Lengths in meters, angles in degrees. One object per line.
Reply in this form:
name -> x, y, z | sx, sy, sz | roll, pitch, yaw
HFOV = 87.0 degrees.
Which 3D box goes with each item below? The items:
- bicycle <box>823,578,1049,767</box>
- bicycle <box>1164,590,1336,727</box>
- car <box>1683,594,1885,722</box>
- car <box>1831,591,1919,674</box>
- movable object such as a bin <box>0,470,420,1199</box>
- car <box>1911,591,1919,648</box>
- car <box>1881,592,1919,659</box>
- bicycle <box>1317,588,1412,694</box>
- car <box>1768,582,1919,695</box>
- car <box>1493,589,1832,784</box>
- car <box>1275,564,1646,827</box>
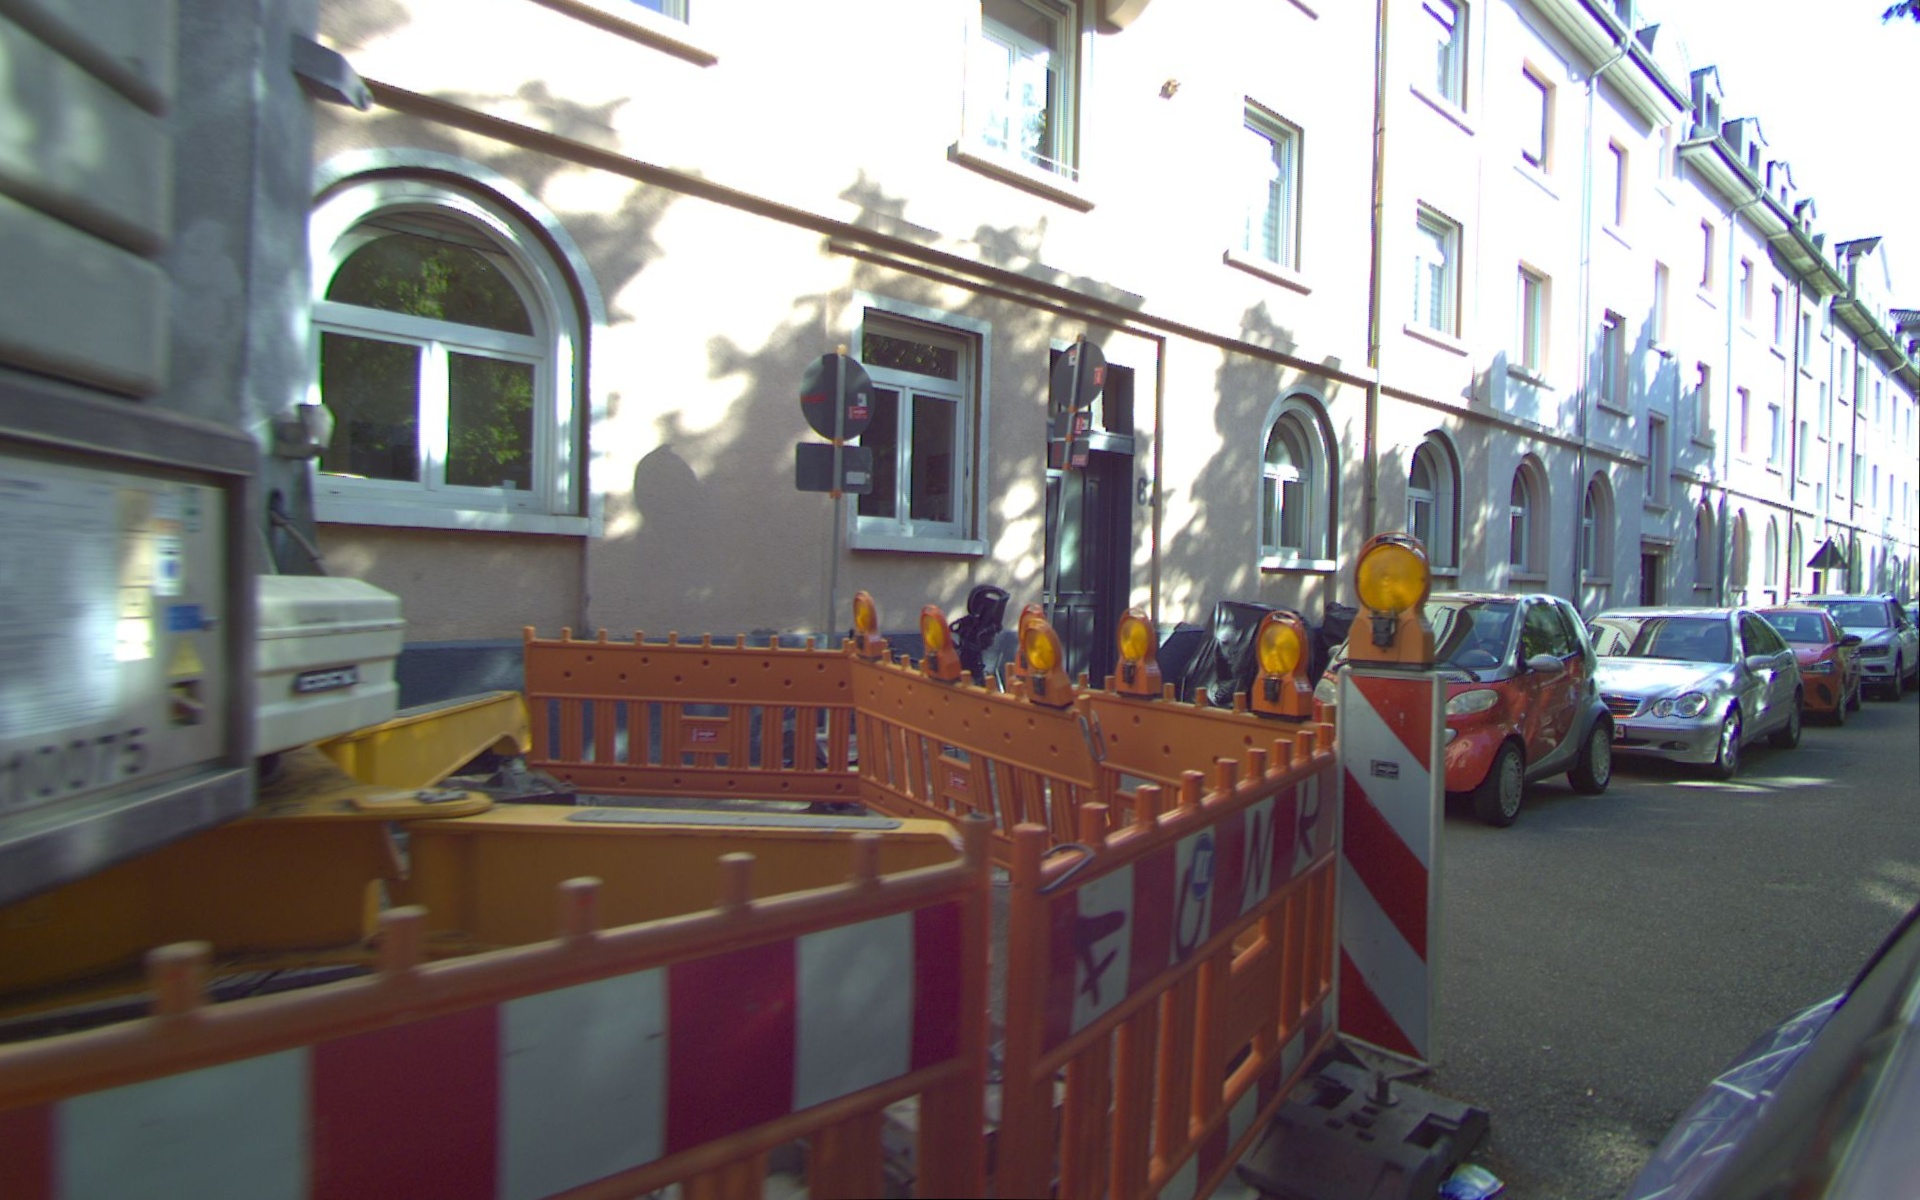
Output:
bicycle -> -0.138, 0.520, 8.152 | 1.986, 1.364, 0.445 | 0, 1, -41
bicycle -> 3.089, 0.551, 10.624 | 2.301, 1.298, 0.541 | 0, 1, -40
car -> 11.180, 0.656, 13.638 | 3.907, 1.445, 1.668 | 0, 2, -44
car -> 19.094, 0.600, 20.529 | 3.544, 1.531, 1.670 | 0, 1, -41
movable object such as a bin -> -2.704, 0.494, 2.736 | 1.595, 1.546, 1.880 | 1, 1, -6
car -> 26.409, 0.515, 26.724 | 3.344, 1.473, 1.576 | 0, 1, -41
car -> 22.744, 0.573, 23.533 | 3.544, 1.455, 1.576 | 0, 1, -41
bicycle -> 4.962, 0.472, 12.372 | 1.504, 1.217, 0.427 | 0, 1, -41
car -> 14.875, 0.545, 16.726 | 4.199, 1.619, 1.670 | 0, 1, -41
car -> 7.005, 0.660, 9.920 | 4.170, 1.482, 1.764 | 0, 2, -41
car -> 3.842, 0.552, 7.619 | 2.918, 1.577, 1.489 | 0, 1, -41
